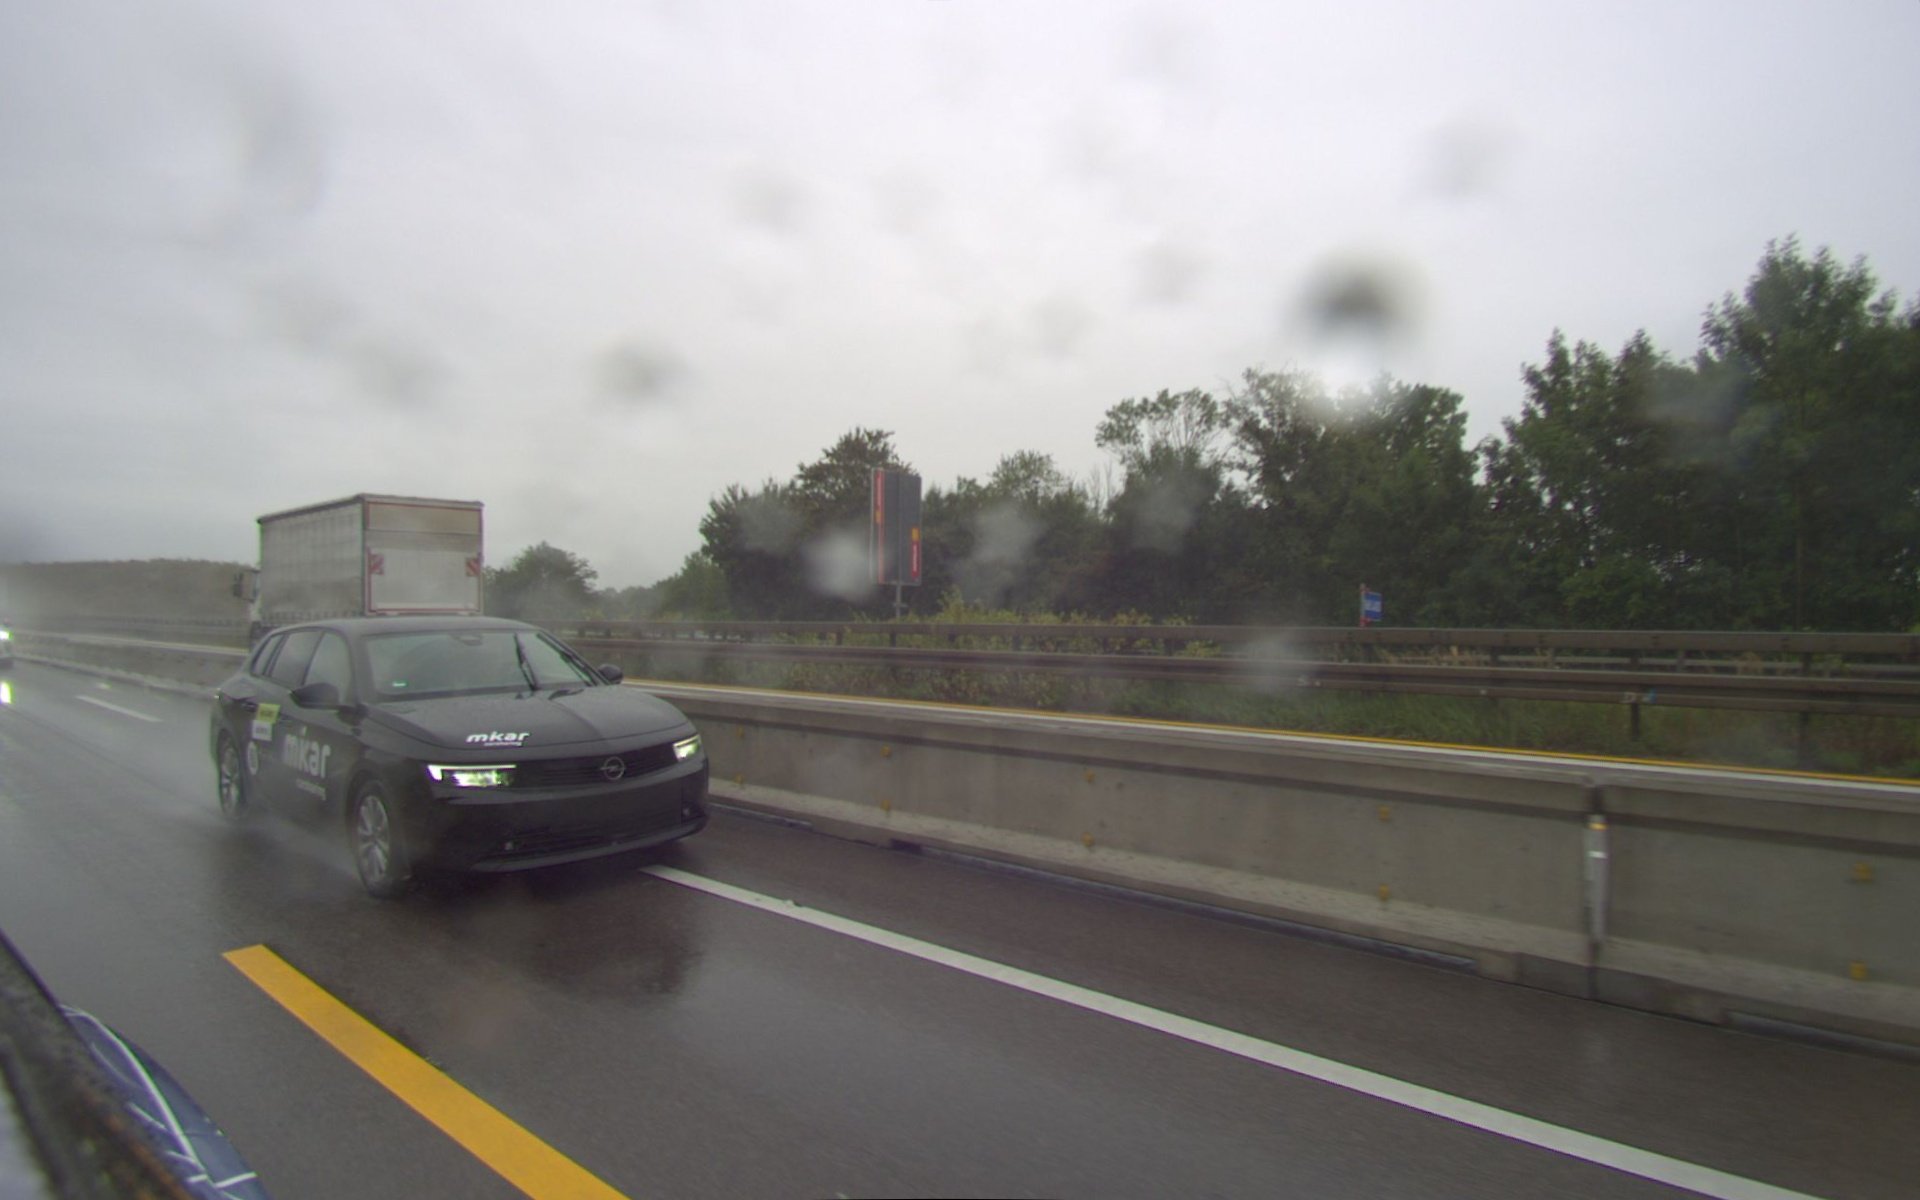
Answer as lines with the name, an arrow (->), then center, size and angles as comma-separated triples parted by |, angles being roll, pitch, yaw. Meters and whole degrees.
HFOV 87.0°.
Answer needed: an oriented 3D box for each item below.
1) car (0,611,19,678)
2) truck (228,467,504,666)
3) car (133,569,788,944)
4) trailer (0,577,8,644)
car -> -26.512, 1.150, 26.681 | 3.996, 1.693, 1.947 | 0, 0, 39
truck -> -15.388, -0.688, 25.727 | 9.826, 4.198, 2.974 | 0, -1, 41
car -> -3.451, 0.617, 6.499 | 4.790, 1.539, 1.920 | 2, 1, 39
trailer -> -71.431, 0.696, 73.136 | 12.002, 4.624, 2.521 | 0, 0, 41
